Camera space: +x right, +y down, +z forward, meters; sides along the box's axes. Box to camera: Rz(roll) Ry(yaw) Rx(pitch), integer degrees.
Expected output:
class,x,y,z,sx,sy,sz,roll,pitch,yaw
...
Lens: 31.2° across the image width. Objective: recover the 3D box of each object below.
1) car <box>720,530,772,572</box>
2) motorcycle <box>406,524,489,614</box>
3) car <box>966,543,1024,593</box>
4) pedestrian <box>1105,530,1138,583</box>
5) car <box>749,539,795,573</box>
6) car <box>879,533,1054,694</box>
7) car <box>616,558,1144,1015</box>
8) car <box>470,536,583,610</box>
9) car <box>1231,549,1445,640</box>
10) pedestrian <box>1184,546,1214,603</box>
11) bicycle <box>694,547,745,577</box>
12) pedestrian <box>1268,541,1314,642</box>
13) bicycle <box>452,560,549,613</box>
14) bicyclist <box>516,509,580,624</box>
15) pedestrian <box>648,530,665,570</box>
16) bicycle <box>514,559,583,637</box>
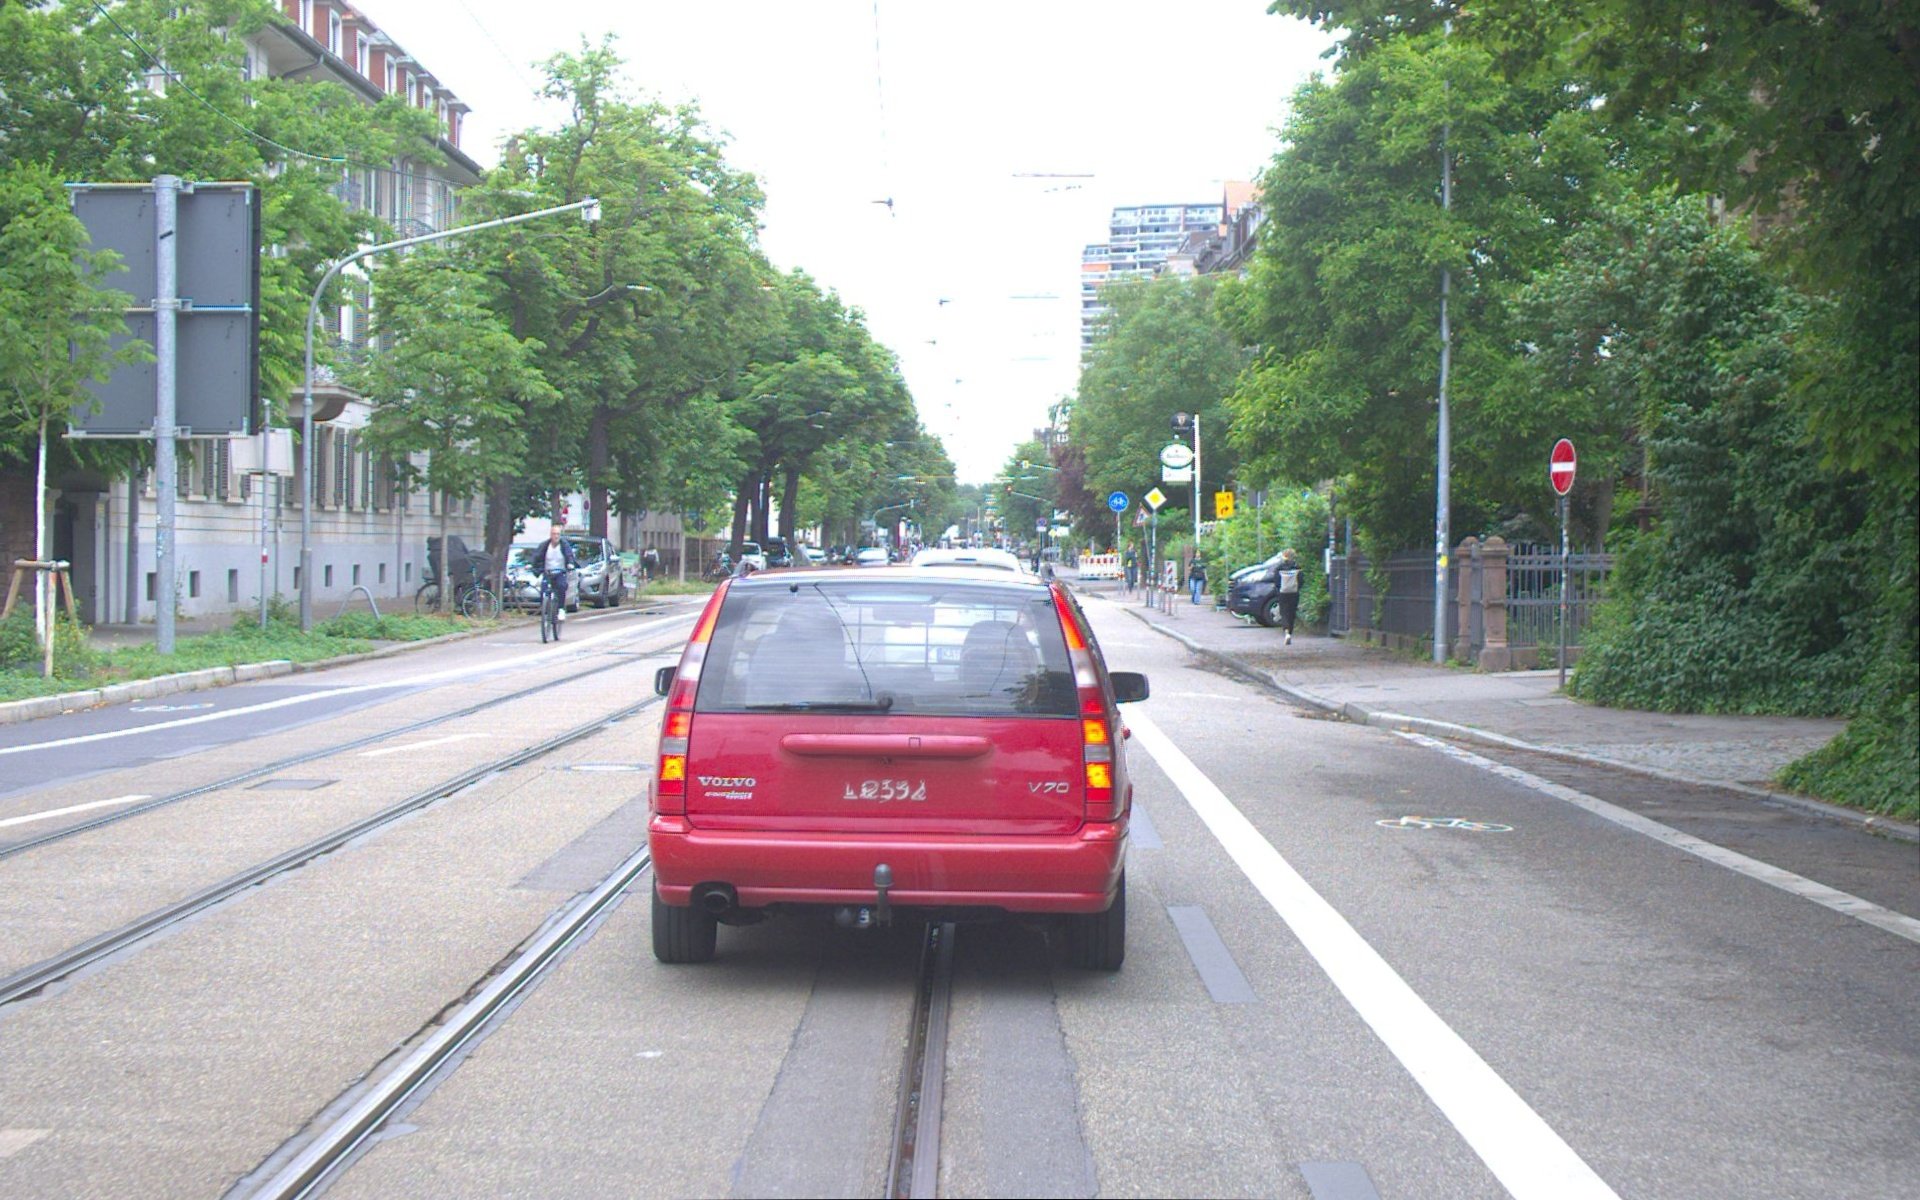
class,x,y,z,sx,sy,sz,roll,pitch,yaw
car,-8.674,-1.999,139.606,1.897,1.650,4.225,1,1,-1
motorcycle,-9.572,-0.595,64.259,0.833,1.637,2.479,1,1,8
car,1.159,-1.078,114.868,1.741,1.600,4.000,1,1,-2
pedestrian,5.019,-1.358,106.918,0.873,1.650,0.908,1,1,13
car,-8.667,-2.048,158.449,1.777,1.505,4.237,1,1,1
car,0.118,0.111,37.030,1.719,1.619,3.941,1,1,2
car,-0.225,0.577,12.949,1.689,1.436,3.743,1,1,1
car,-9.111,-0.595,72.535,1.811,1.461,4.614,1,1,0
car,7.824,-0.120,71.418,4.281,1.803,1.823,-1,1,2
pedestrian,6.909,-0.742,99.318,0.793,1.630,0.836,1,1,1
bicycle,-9.463,-1.485,135.355,1.922,1.117,0.624,2,1,0
pedestrian,5.618,-0.148,58.321,0.623,1.665,0.960,-2,1,0
bicycle,-9.253,-0.277,69.238,1.894,1.023,0.564,1,1,-4
bicyclist,-6.499,-0.530,54.262,0.791,1.777,1.147,-2,1,1
pedestrian,-11.215,-1.841,127.135,0.564,1.462,0.723,0,1,1
bicycle,-6.490,-0.041,54.300,0.791,1.182,2.010,-2,1,1
